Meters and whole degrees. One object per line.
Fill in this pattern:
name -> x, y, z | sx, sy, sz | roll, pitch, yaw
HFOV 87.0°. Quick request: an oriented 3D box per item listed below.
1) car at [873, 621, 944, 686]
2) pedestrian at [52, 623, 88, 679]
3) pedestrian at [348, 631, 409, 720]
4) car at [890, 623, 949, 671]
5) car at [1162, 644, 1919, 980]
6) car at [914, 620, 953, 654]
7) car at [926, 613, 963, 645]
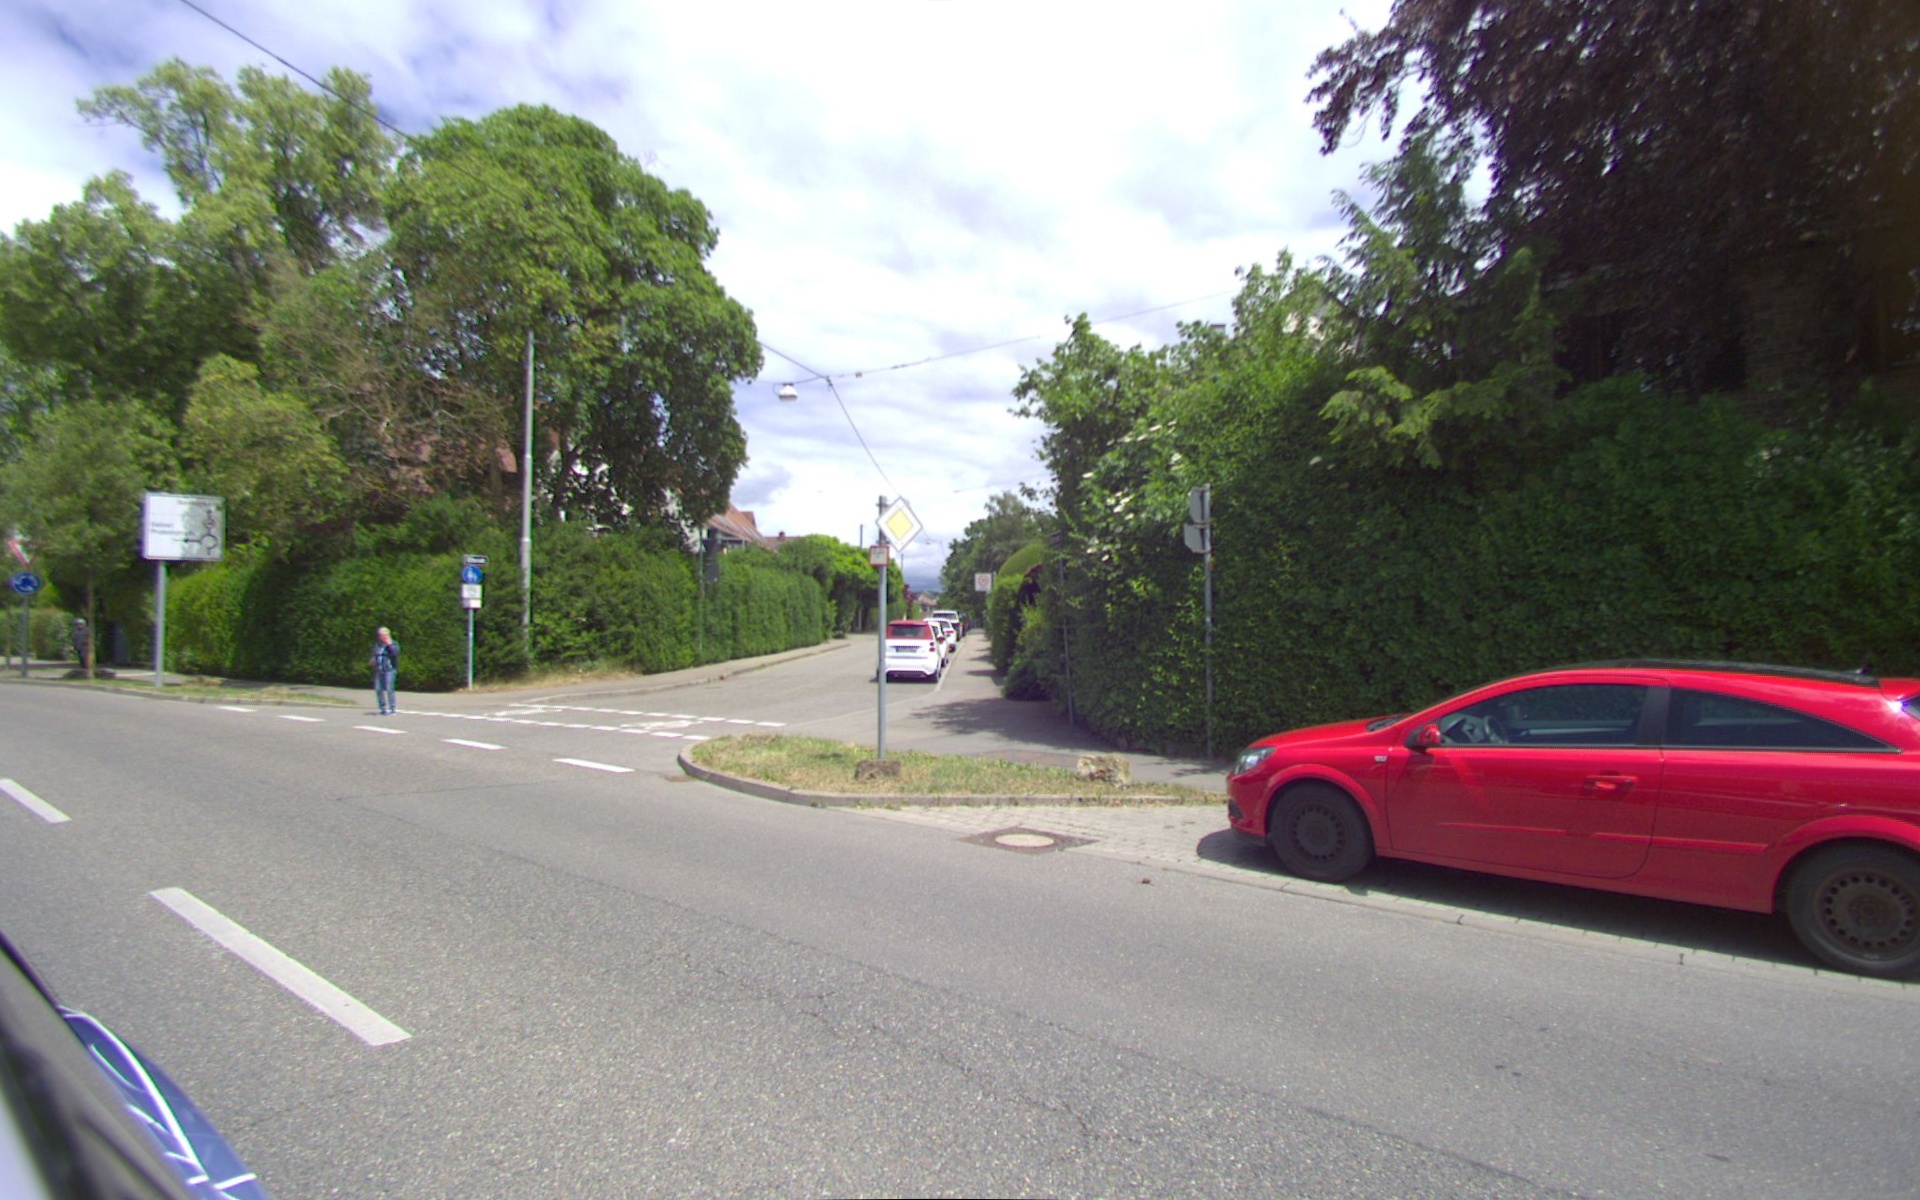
car -> -1.283, 1.344, 26.231 | 1.569, 1.567, 2.775 | 0, -1, 3
pedestrian -> -27.544, 1.563, 31.320 | 0.694, 1.704, 0.736 | -1, -2, 40
pedestrian -> -10.239, 1.319, 17.841 | 0.619, 1.520, 0.730 | 0, -2, 3
car -> -1.281, 1.493, 33.264 | 1.692, 1.466, 3.533 | 0, -1, 2
car -> 3.643, 1.009, 6.092 | 4.564, 1.388, 1.643 | -1, -1, 42
car -> -1.165, 1.629, 45.240 | 1.682, 1.416, 4.281 | 0, -1, -1
car -> -0.937, 1.818, 63.526 | 1.941, 1.885, 3.994 | 0, -1, 5
